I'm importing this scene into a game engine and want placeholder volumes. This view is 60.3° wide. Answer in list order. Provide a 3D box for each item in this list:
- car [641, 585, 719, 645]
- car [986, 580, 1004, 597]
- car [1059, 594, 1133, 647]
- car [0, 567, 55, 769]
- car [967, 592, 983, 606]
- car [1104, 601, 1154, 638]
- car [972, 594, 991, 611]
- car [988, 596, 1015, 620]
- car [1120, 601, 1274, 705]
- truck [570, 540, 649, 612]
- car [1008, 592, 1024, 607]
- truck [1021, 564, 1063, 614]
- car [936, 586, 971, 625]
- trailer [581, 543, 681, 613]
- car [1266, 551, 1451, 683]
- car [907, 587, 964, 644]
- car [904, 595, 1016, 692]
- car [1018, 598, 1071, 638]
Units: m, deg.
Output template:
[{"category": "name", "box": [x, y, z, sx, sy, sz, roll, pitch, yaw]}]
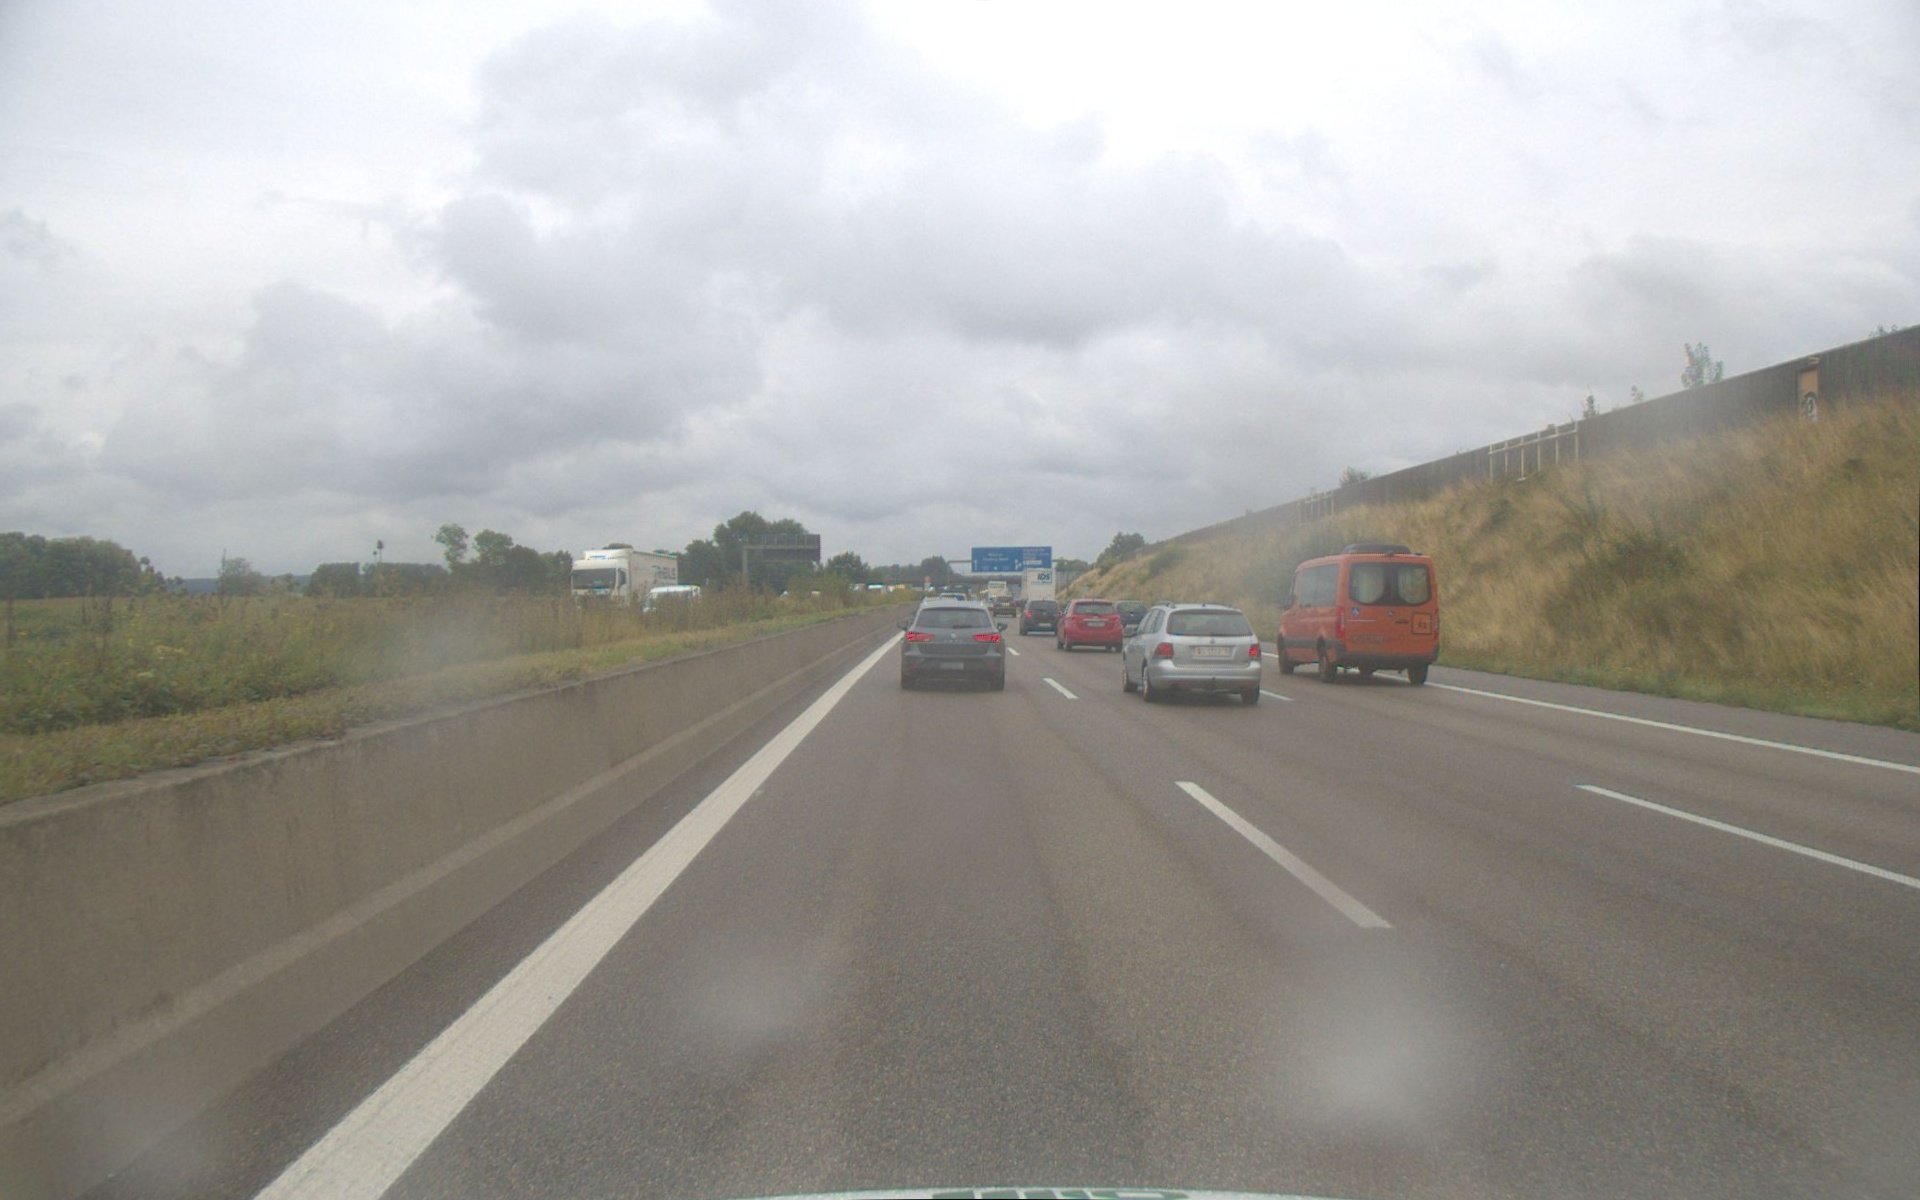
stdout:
[{"category": "car", "box": [-10.002, 0.516, 59.456, 1.953, 2.049, 5.068, 0, 0, -1]}, {"category": "car", "box": [4.220, -1.358, 200.306, 1.953, 2.049, 3.999, -1, 0, -2]}, {"category": "car", "box": [3.955, 0.556, 48.771, 1.852, 1.472, 4.685, 0, 0, 1]}, {"category": "car", "box": [-9.066, 0.575, 12.894, 1.844, 1.713, 3.999, 0, 0, -1]}, {"category": "car", "box": [2.004, -0.162, 217.970, 1.953, 1.845, 4.596, 0, 0, -1]}, {"category": "car", "box": [6.767, 0.778, 66.485, 1.667, 1.426, 3.876, 1, 0, 1]}, {"category": "car", "box": [2.042, 0.241, 156.650, 1.716, 1.544, 3.999, 0, 0, -1]}, {"category": "car", "box": [3.122, 0.613, 125.852, 1.808, 1.716, 3.999, 1, 0, -1]}, {"category": "car", "box": [3.586, 0.755, 25.767, 1.706, 1.450, 4.516, -1, 0, -1]}, {"category": "truck", "box": [-17.664, -1.166, 83.684, 2.909, 3.488, 5.626, 1, 0, -1]}, {"category": "car", "box": [7.554, -0.093, 222.743, 1.953, 1.892, 4.390, 0, 0, -1]}, {"category": "truck", "box": [7.613, -0.961, 156.722, 3.216, 4.370, 19.033, 1, 0, 1]}, {"category": "car", "box": [-0.312, 0.252, 81.531, 1.670, 1.828, 3.855, -2, 0, 0]}, {"category": "trailer", "box": [-17.709, -1.073, 90.085, 2.855, 3.488, 13.239, 1, 0, -1]}, {"category": "car", "box": [7.715, 0.280, 32.728, 2.043, 2.355, 6.179, 0, 0, -1]}, {"category": "car", "box": [-0.757, 0.499, 54.059, 1.718, 1.780, 4.000, 1, 0, 1]}, {"category": "car", "box": [0.010, 0.696, 27.940, 1.732, 1.493, 4.000, 1, 0, 0]}, {"category": "car", "box": [3.391, 0.709, 67.100, 1.882, 1.548, 4.621, 0, 0, -1]}]
